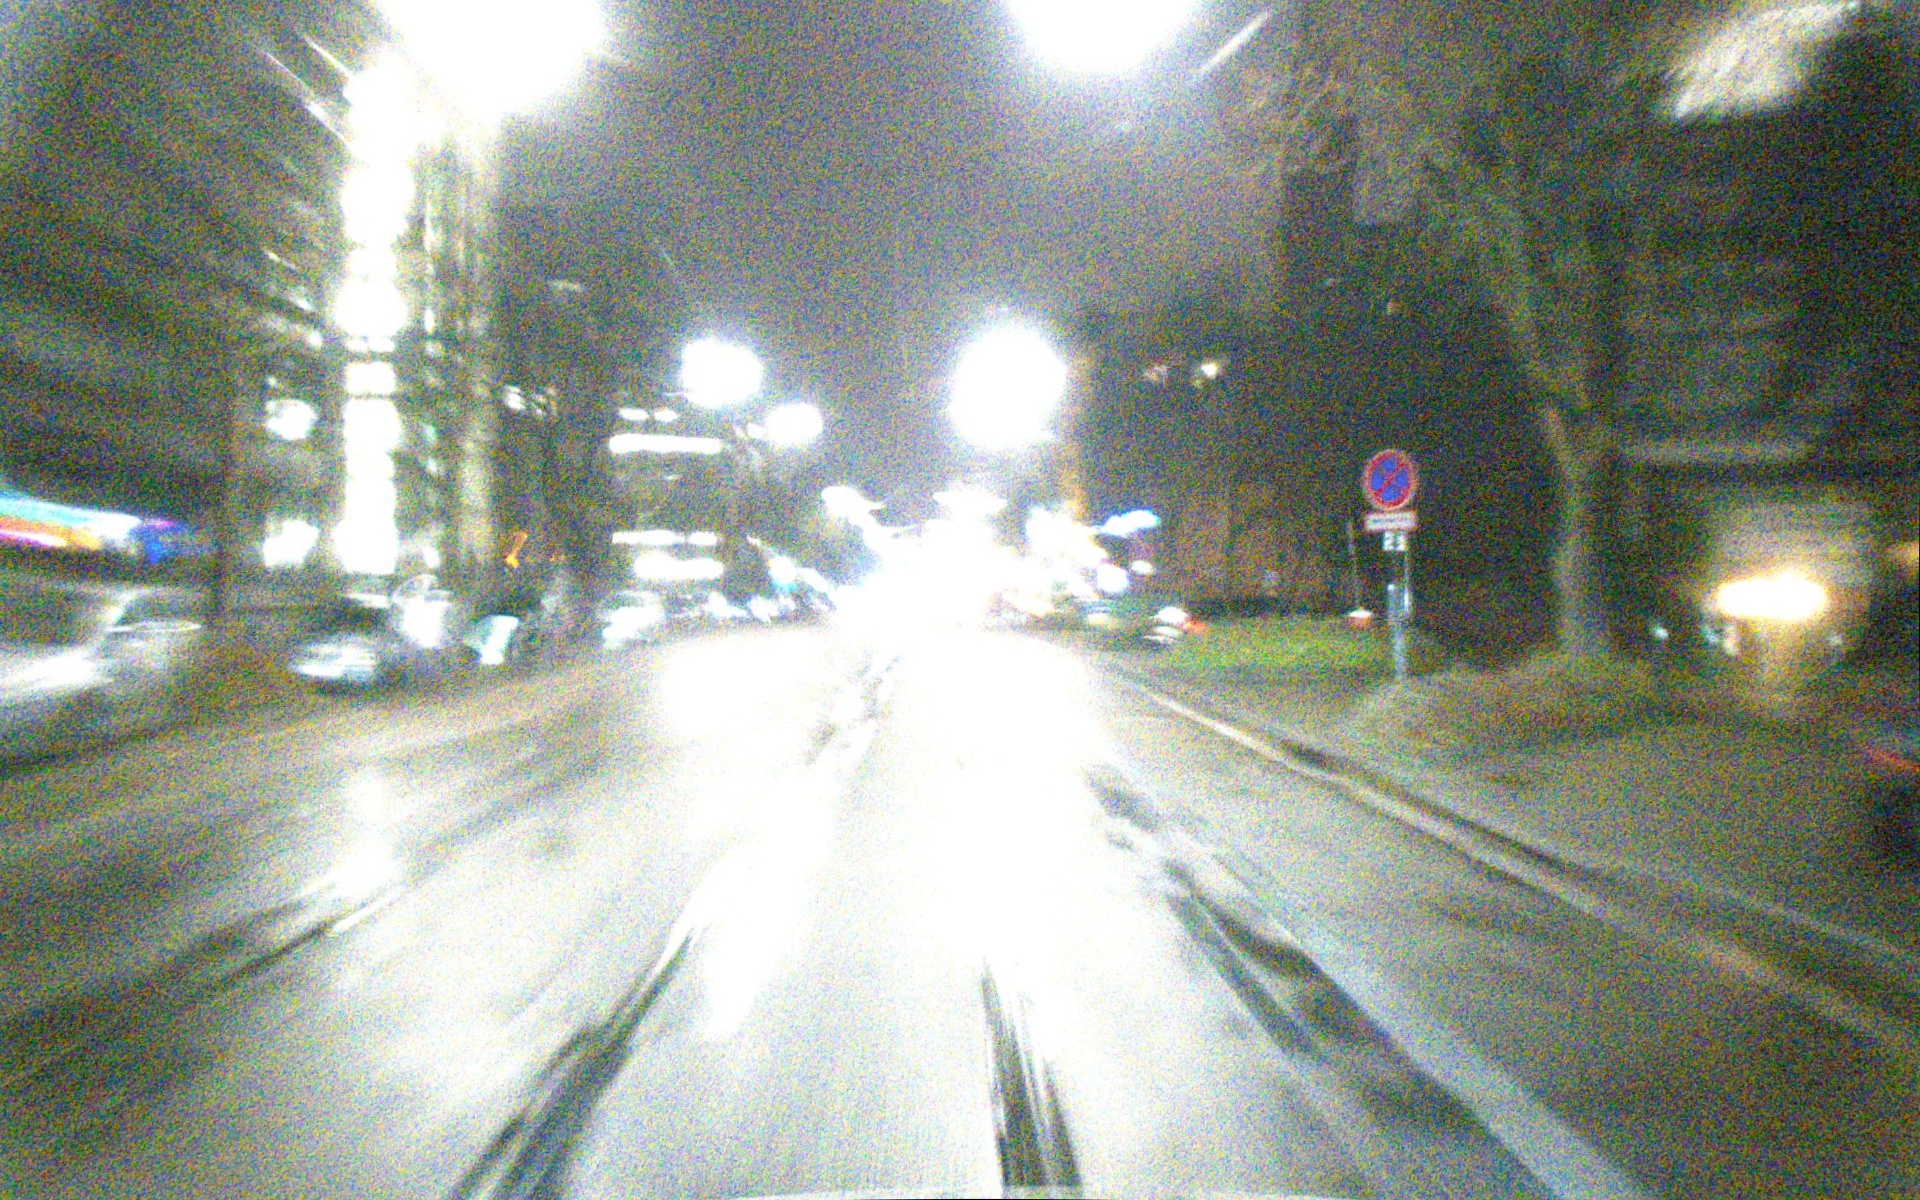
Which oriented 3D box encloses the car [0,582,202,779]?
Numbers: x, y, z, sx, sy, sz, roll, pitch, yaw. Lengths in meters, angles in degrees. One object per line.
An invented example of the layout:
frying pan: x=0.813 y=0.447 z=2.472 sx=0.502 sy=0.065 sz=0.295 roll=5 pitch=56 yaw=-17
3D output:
car: x=-9.117 y=0.675 z=15.728 sx=1.773 sy=1.606 sz=4.352 roll=3 pitch=0 yaw=-1

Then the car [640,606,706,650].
car: x=-9.787 y=0.919 z=56.737 sx=1.803 sy=1.448 sz=4.205 roll=0 pitch=0 yaw=-4

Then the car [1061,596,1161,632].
car: x=6.692 y=0.618 z=73.473 sx=4.043 sy=1.564 sz=1.944 roll=1 pitch=0 yaw=-27

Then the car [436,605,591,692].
car: x=-9.505 y=0.992 z=35.587 sx=2.100 sy=1.648 sz=4.588 roll=3 pitch=0 yaw=-1

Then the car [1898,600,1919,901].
car: x=6.875 y=0.760 z=9.053 sx=4.300 sy=1.494 sz=1.657 roll=0 pitch=0 yaw=-40

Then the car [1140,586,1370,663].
car: x=6.252 y=0.496 z=35.088 sx=4.519 sy=1.501 sz=1.828 roll=-1 pitch=0 yaw=-21

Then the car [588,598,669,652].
car: x=-9.421 y=0.679 z=47.328 sx=1.738 sy=1.465 sz=4.603 roll=0 pitch=0 yaw=-5

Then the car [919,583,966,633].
car: x=-0.909 y=0.400 z=81.748 sx=2.199 sy=2.402 sz=4.391 roll=1 pitch=0 yaw=-2

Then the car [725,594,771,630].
car: x=-10.142 y=0.579 z=79.346 sx=1.843 sy=1.572 sz=4.396 roll=4 pitch=-1 yaw=-4

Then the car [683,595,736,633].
car: x=-10.128 y=0.561 z=67.191 sx=1.851 sy=1.488 sz=4.954 roll=0 pitch=0 yaw=-5

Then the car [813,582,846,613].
car: x=-11.246 y=-0.243 z=142.785 sx=2.140 sy=2.637 sz=6.393 roll=1 pitch=1 yaw=1

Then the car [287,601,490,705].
car: x=-9.052 y=0.781 z=26.622 sx=1.696 sy=1.463 sz=4.625 roll=1 pitch=0 yaw=-1

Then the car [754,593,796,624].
car: x=-10.373 y=0.466 z=93.127 sx=1.943 sy=1.660 sz=4.516 roll=1 pitch=0 yaw=-1

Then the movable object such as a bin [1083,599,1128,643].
movable object such as a bin: x=4.865 y=0.709 z=55.448 sx=1.296 sy=1.433 sz=1.158 roll=-1 pitch=-1 yaw=-7
